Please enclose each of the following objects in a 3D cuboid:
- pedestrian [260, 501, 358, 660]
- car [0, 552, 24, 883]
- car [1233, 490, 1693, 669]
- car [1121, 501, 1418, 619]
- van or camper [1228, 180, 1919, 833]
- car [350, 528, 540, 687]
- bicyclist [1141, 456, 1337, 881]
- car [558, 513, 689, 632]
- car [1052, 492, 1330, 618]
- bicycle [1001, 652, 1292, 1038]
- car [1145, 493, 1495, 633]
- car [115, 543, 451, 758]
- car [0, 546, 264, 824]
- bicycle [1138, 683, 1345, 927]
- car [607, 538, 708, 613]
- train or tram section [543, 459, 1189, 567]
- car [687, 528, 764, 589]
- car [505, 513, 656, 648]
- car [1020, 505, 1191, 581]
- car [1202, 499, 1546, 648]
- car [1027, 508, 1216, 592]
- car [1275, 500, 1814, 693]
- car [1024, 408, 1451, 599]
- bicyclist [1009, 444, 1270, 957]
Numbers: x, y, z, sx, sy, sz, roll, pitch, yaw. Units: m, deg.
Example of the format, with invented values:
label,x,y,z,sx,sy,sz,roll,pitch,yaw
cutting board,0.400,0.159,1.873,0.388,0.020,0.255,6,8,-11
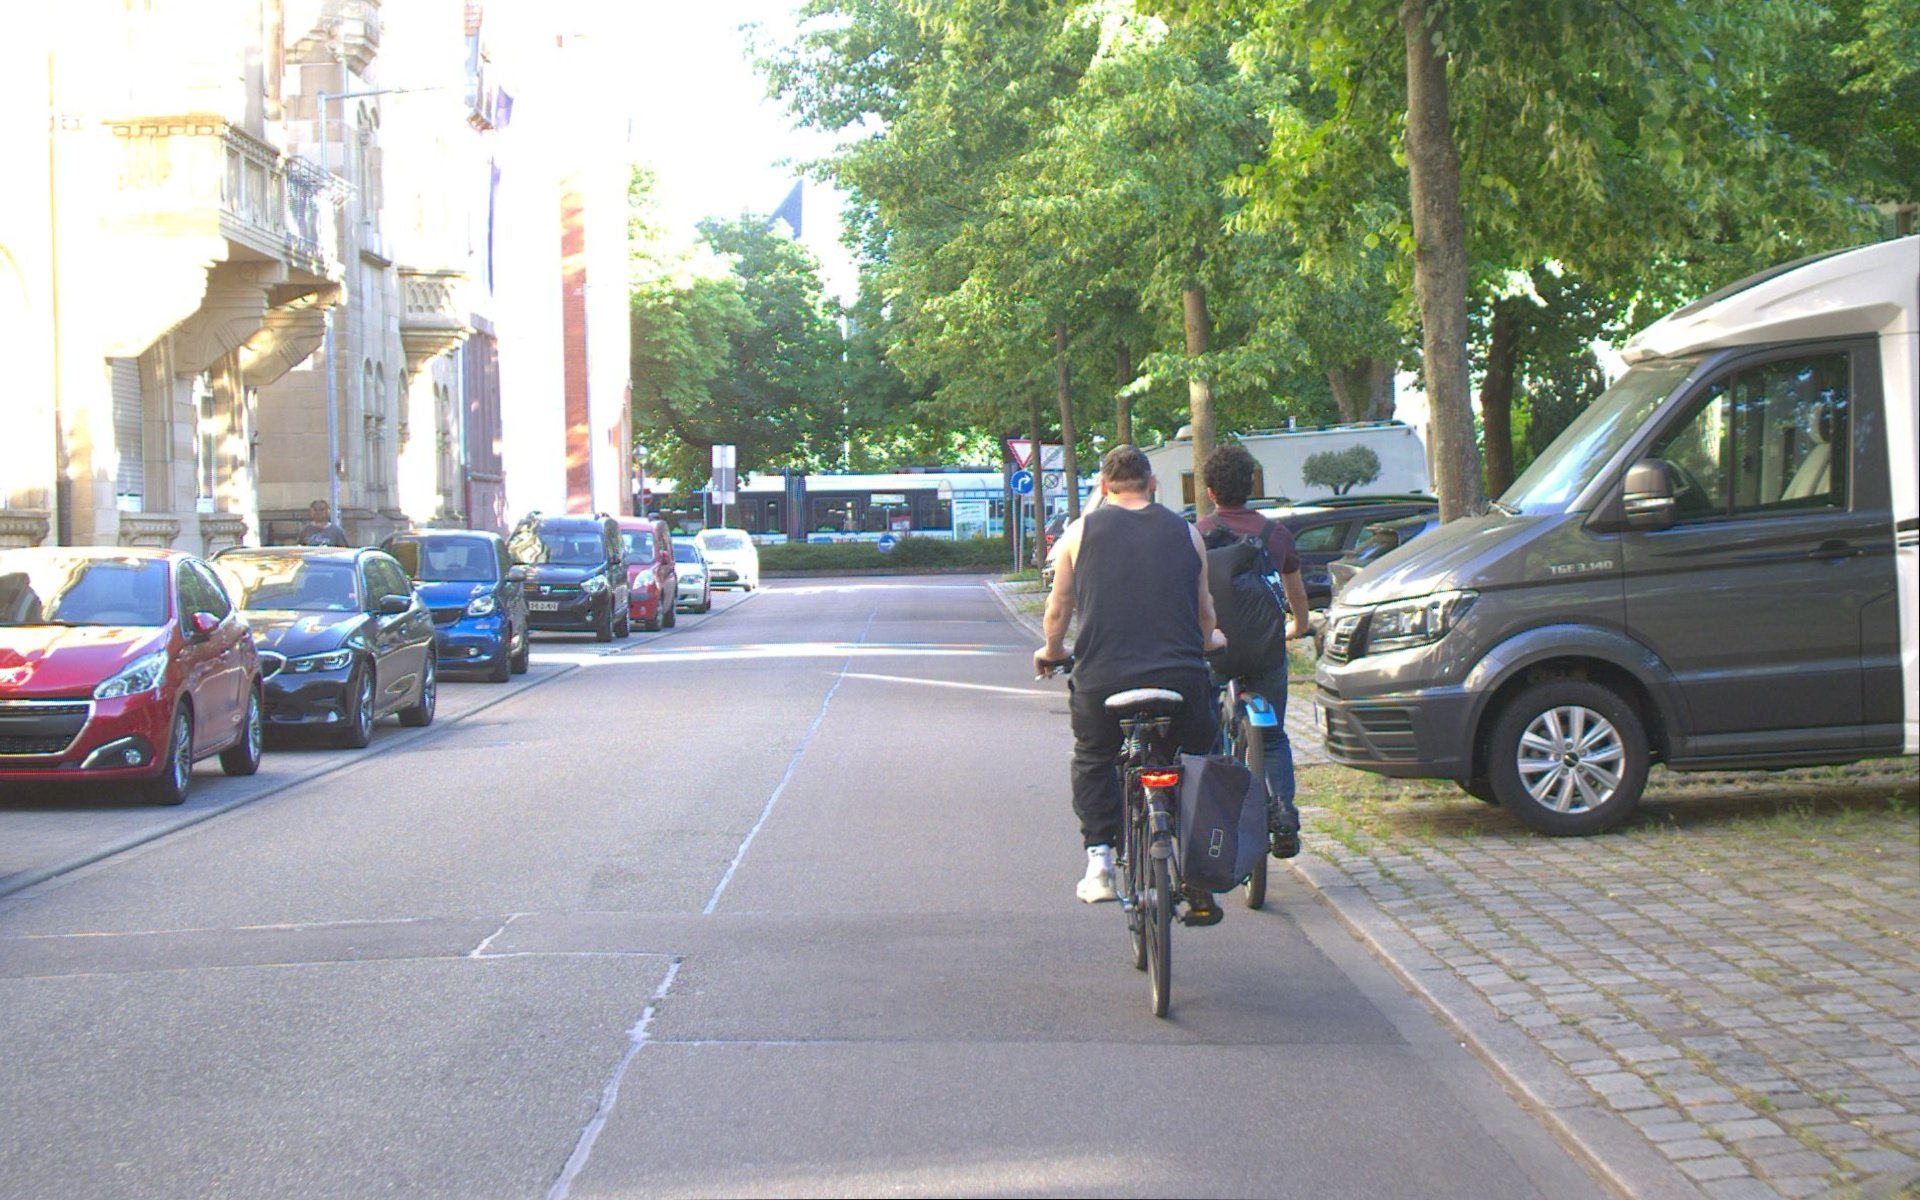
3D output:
label,x,y,z,sx,sy,sz,roll,pitch,yaw
pedestrian,-7.207,-0.216,38.083,0.938,1.736,0.735,0,0,0
car,-4.995,0.543,13.399,1.696,1.448,4.028,-1,1,-2
car,4.850,-0.188,33.579,4.223,1.594,1.691,-2,-1,1
car,4.554,-0.580,50.929,4.138,1.594,1.703,-2,-1,-3
van or camper,4.961,-0.552,15.958,7.147,2.638,2.464,-3,1,1
car,-5.284,0.048,35.540,1.595,1.484,2.737,2,2,-2
bicyclist,1.090,0.253,13.632,0.689,1.621,0.998,0,1,0
car,-5.431,-0.484,55.865,1.689,1.819,4.273,1,2,0
car,3.573,-0.704,53.603,4.082,1.644,1.641,-4,1,-2
bicycle,0.546,0.716,10.812,0.737,1.050,1.956,1,0,-2
car,4.413,-0.441,42.529,4.139,1.594,1.702,-2,-1,1
car,-5.108,0.318,26.504,1.675,1.425,4.551,1,2,0
car,-5.236,0.430,20.366,1.628,1.448,3.838,0,2,-3
bicycle,1.090,0.783,13.656,0.633,0.796,1.833,-2,1,-1
car,-5.845,-0.500,66.776,1.583,1.339,4.131,1,2,0
train or tram section,-3.223,-3.103,126.633,23.800,3.696,4.287,0,1,-22
car,-5.711,-1.029,84.134,1.583,1.371,4.131,1,2,0
car,-5.343,-0.323,48.838,1.640,1.777,4.354,1,2,0
car,3.494,-1.377,83.166,3.986,1.797,1.834,0,1,-3
car,4.767,-0.288,39.969,3.773,1.594,1.691,-2,-1,1
car,3.514,-1.098,75.282,3.986,1.797,1.834,0,1,-3
car,4.717,-0.050,28.085,4.032,1.449,1.691,-1,1,-4
car,4.855,-1.698,60.940,7.146,2.968,2.465,-3,1,-3
bicyclist,0.551,0.302,10.855,0.729,1.542,0.885,1,0,-2
